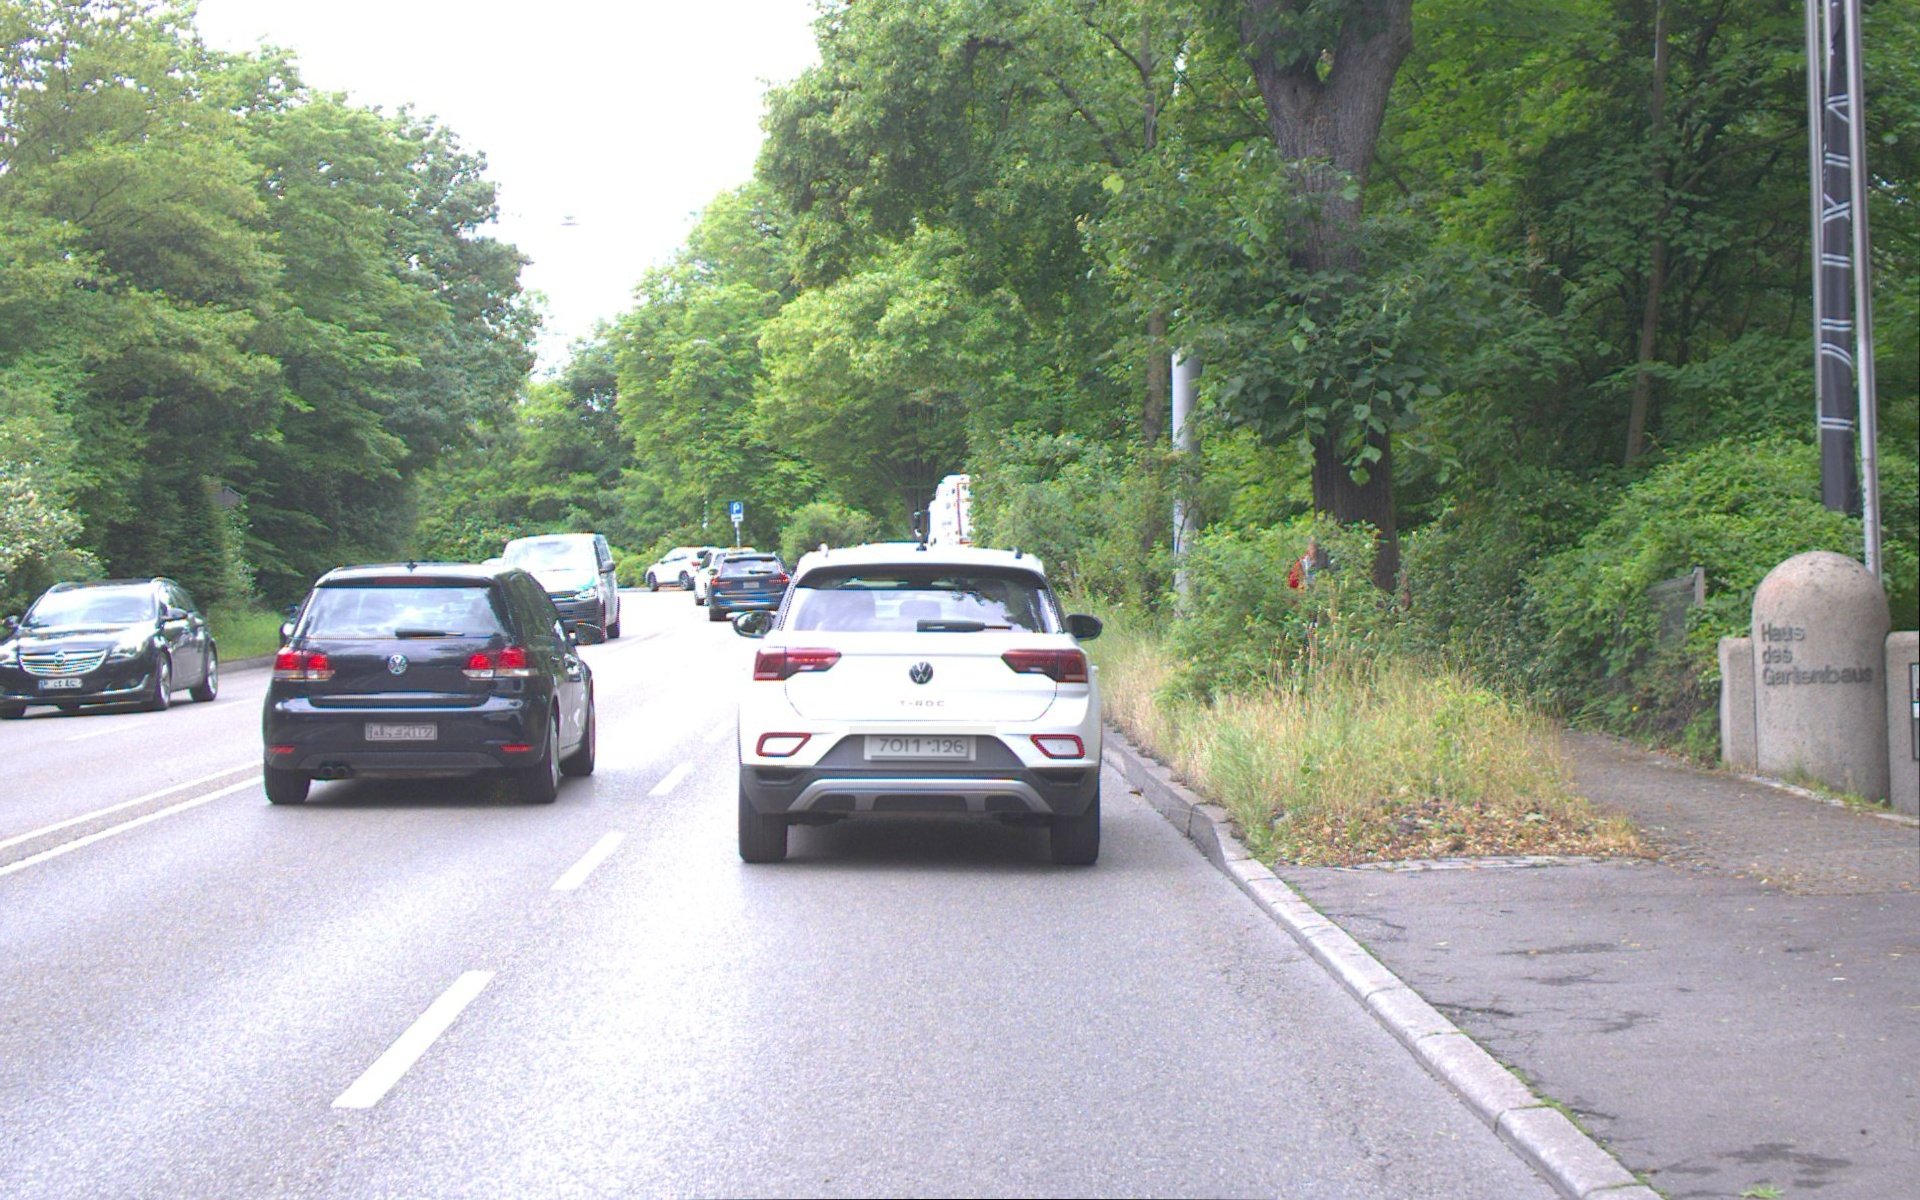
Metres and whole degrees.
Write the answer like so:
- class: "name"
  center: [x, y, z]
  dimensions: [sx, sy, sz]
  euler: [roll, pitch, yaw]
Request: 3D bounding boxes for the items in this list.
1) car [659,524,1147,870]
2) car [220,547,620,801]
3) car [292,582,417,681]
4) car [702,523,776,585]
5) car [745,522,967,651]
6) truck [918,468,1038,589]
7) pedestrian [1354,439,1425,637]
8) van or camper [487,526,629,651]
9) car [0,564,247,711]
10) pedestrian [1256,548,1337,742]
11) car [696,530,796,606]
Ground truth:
- class: "car"
  center: [-0.425, 0.430, 17.888]
  dimensions: [2.000, 1.590, 4.001]
  euler: [0, 0, -9]
- class: "car"
  center: [-3.330, 0.410, 21.928]
  dimensions: [1.949, 1.461, 4.000]
  euler: [0, 0, -1]
- class: "car"
  center: [-10.305, 0.510, 58.710]
  dimensions: [1.475, 1.590, 4.000]
  euler: [0, 0, -1]
- class: "car"
  center: [-5.960, -1.235, 93.098]
  dimensions: [1.821, 1.617, 4.000]
  euler: [0, 0, -1]
- class: "car"
  center: [-1.559, -0.227, 50.044]
  dimensions: [1.851, 1.697, 4.001]
  euler: [-4, 2, -22]
- class: "truck"
  center: [0.437, -1.927, 94.390]
  dimensions: [2.481, 3.171, 7.230]
  euler: [0, 0, -6]
- class: "pedestrian"
  center: [3.842, -0.553, 30.762]
  dimensions: [0.519, 1.747, 0.525]
  euler: [0, 0, -4]
- class: "van or camper"
  center: [-7.145, -0.224, 61.552]
  dimensions: [1.993, 2.007, 5.369]
  euler: [-4, 1, -2]
- class: "car"
  center: [-9.449, 0.375, 38.674]
  dimensions: [1.913, 1.463, 4.530]
  euler: [-2, 1, -1]
- class: "pedestrian"
  center: [2.968, 0.390, 30.345]
  dimensions: [0.608, 1.692, 0.549]
  euler: [0, 0, -4]
- class: "car"
  center: [-4.614, -0.688, 74.649]
  dimensions: [1.993, 1.586, 4.000]
  euler: [0, 0, -1]
